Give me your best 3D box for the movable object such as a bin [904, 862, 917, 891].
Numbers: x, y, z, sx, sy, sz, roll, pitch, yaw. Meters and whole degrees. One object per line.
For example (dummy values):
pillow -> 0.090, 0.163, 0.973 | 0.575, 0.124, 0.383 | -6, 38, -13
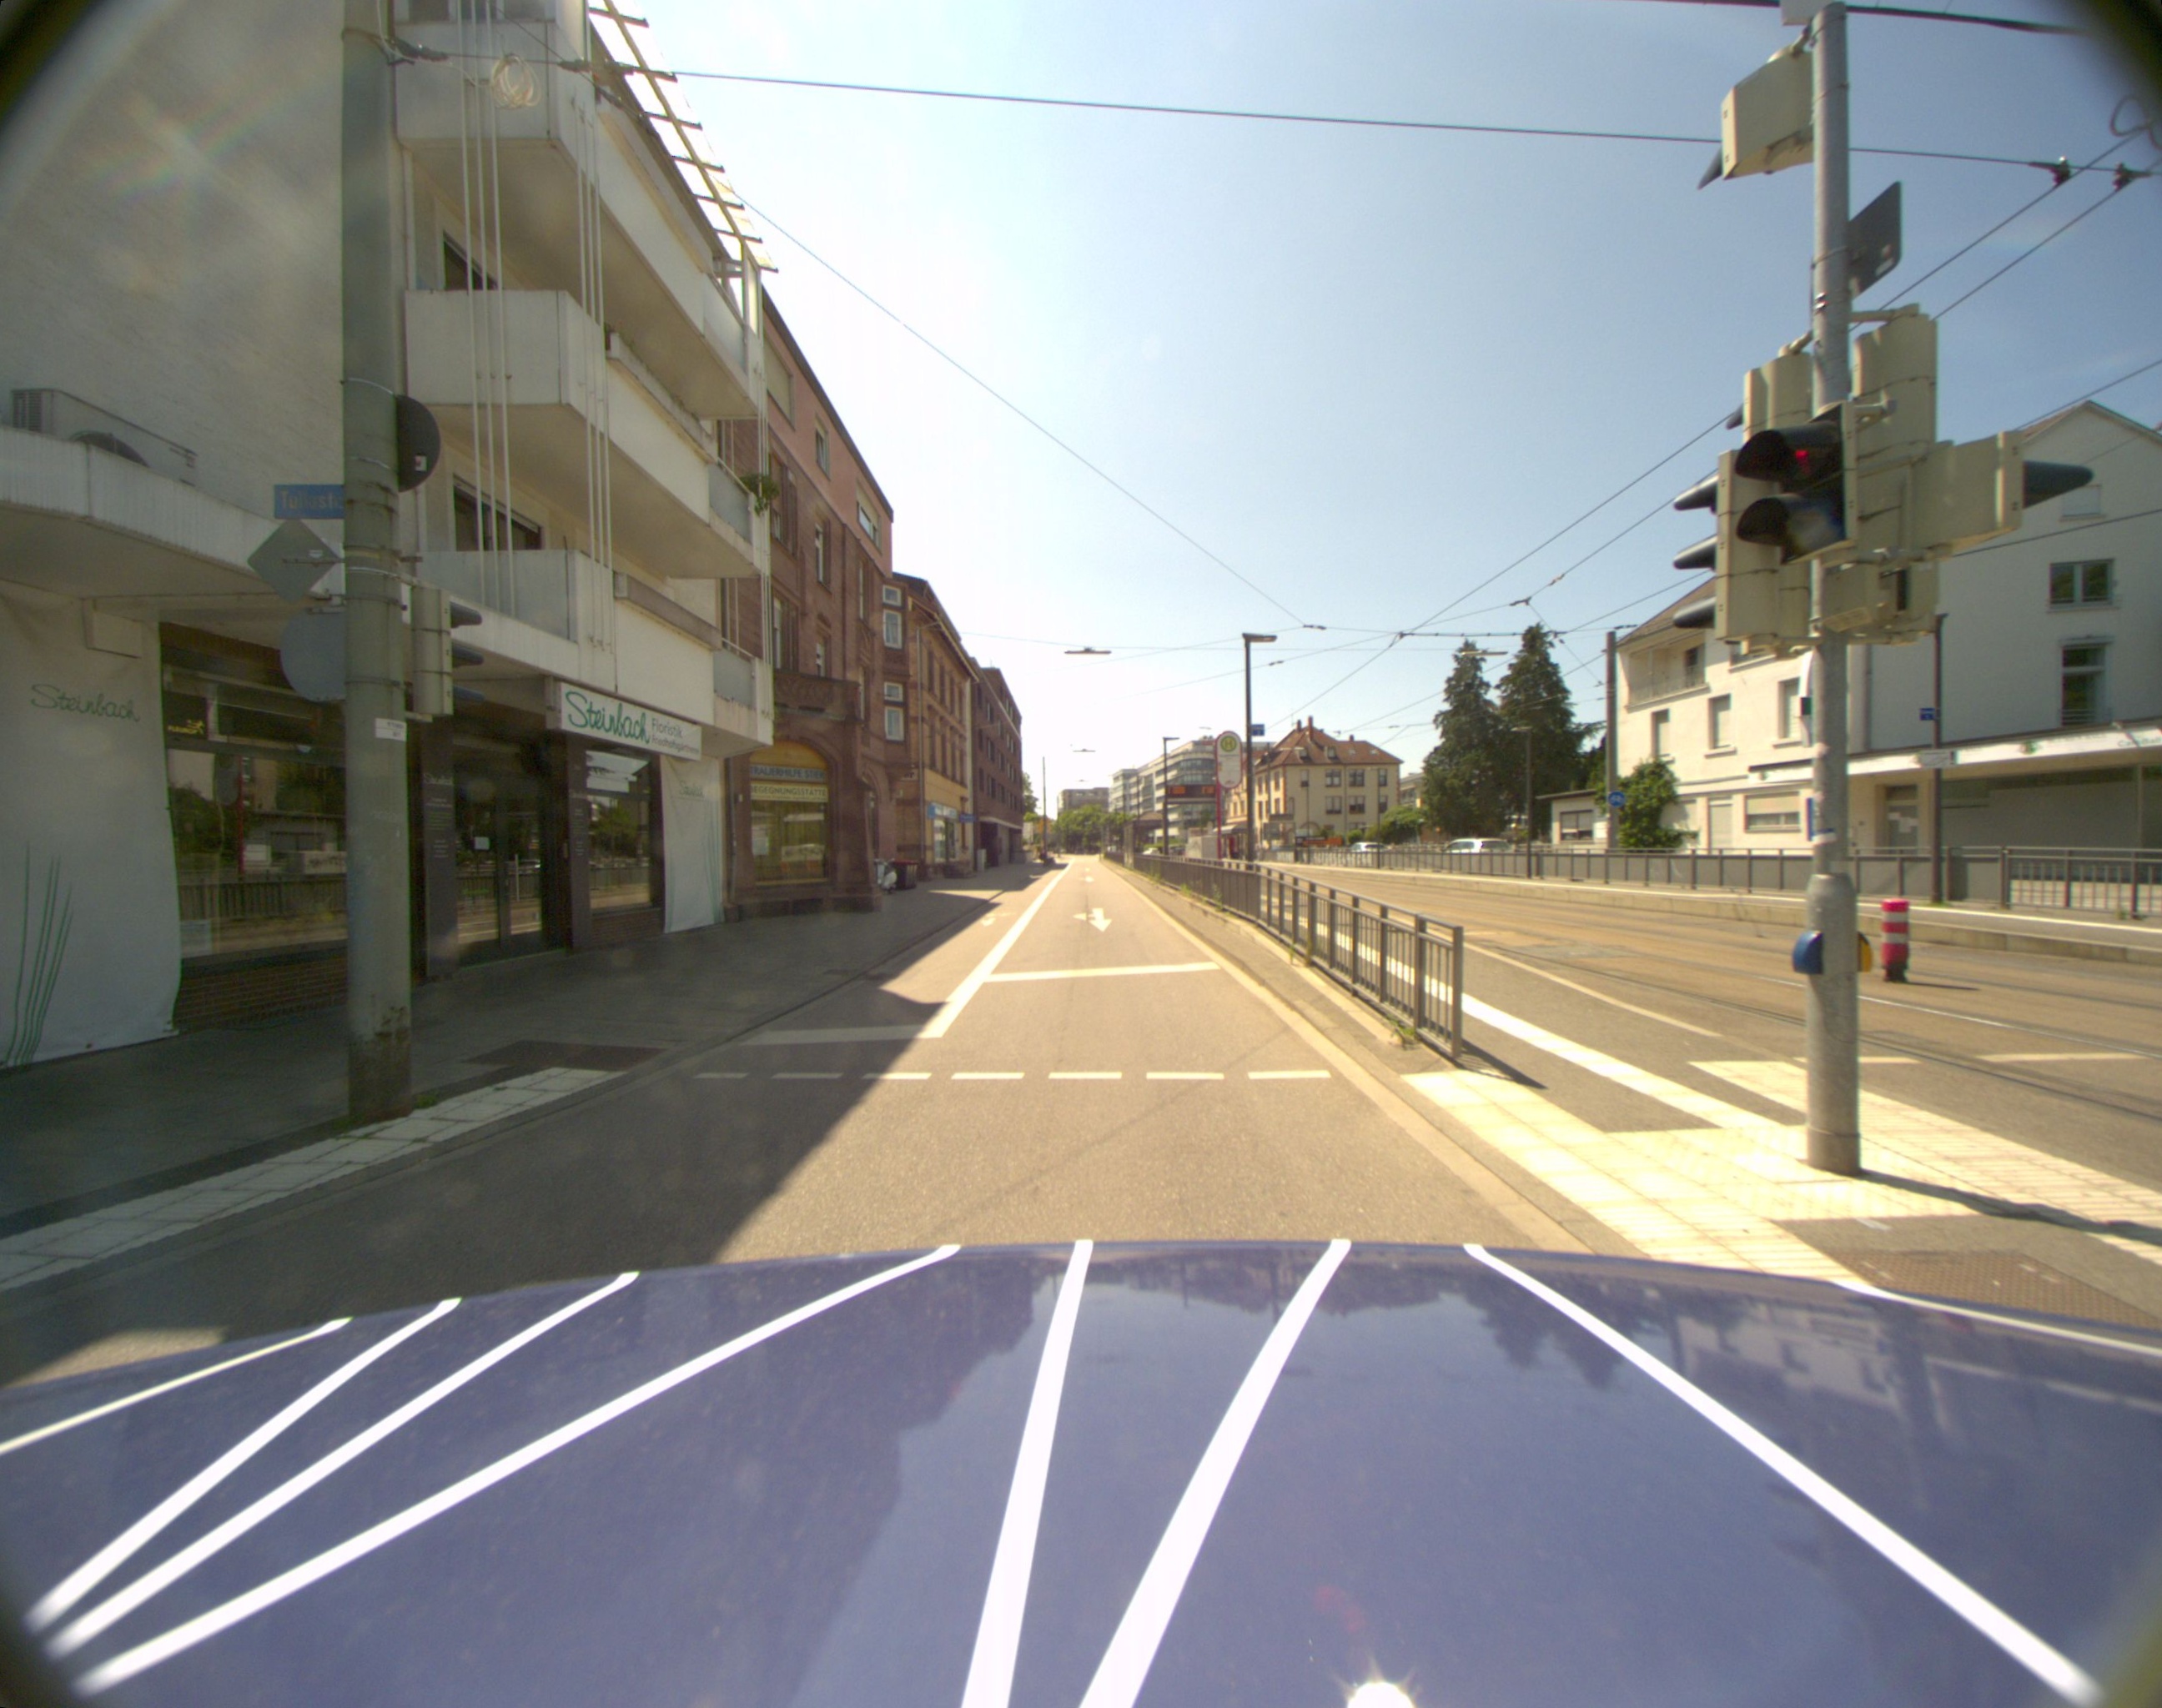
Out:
movable object such as a bin -> -6.307, 0.821, 28.117 | 0.376, 1.042, 0.559 | 1, 1, 0

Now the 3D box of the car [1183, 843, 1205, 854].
car -> 14.858, -0.738, 100.065 | 1.823, 1.388, 4.172 | -2, 1, -7

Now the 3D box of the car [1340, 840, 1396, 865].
car -> 16.833, -0.133, 44.731 | 1.822, 1.355, 4.051 | -1, 1, 1

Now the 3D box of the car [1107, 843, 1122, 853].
car -> 6.629, -1.182, 150.312 | 1.862, 1.806, 4.693 | -2, 1, -12

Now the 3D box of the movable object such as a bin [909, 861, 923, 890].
movable object such as a bin -> -6.249, 0.802, 28.765 | 0.376, 1.042, 0.657 | 1, 1, 0

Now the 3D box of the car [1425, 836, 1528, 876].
car -> 16.192, 0.045, 31.405 | 1.823, 1.481, 4.497 | -2, 1, -1

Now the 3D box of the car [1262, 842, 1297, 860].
car -> 16.925, -0.297, 64.991 | 1.861, 1.433, 4.477 | -1, 1, 1

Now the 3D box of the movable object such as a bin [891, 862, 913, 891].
movable object such as a bin -> -6.473, 0.813, 27.542 | 0.649, 1.042, 0.559 | 1, 1, 0

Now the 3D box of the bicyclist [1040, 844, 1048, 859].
bicyclist -> -4.188, -0.255, 85.668 | 0.671, 1.712, 0.928 | -1, 1, 5

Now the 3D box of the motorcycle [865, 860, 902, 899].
motorcycle -> -6.298, 0.796, 24.329 | 0.528, 1.142, 1.880 | -1, 1, 5

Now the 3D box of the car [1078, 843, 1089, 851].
car -> 0.693, -1.693, 190.687 | 2.001, 1.827, 3.995 | -2, 1, -12

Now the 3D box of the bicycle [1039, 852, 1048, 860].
bicycle -> -4.194, 0.240, 85.487 | 0.689, 0.793, 1.908 | -1, 1, 4

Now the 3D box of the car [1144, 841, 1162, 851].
car -> 11.645, -1.289, 122.857 | 1.824, 1.459, 4.619 | -2, 1, -10
